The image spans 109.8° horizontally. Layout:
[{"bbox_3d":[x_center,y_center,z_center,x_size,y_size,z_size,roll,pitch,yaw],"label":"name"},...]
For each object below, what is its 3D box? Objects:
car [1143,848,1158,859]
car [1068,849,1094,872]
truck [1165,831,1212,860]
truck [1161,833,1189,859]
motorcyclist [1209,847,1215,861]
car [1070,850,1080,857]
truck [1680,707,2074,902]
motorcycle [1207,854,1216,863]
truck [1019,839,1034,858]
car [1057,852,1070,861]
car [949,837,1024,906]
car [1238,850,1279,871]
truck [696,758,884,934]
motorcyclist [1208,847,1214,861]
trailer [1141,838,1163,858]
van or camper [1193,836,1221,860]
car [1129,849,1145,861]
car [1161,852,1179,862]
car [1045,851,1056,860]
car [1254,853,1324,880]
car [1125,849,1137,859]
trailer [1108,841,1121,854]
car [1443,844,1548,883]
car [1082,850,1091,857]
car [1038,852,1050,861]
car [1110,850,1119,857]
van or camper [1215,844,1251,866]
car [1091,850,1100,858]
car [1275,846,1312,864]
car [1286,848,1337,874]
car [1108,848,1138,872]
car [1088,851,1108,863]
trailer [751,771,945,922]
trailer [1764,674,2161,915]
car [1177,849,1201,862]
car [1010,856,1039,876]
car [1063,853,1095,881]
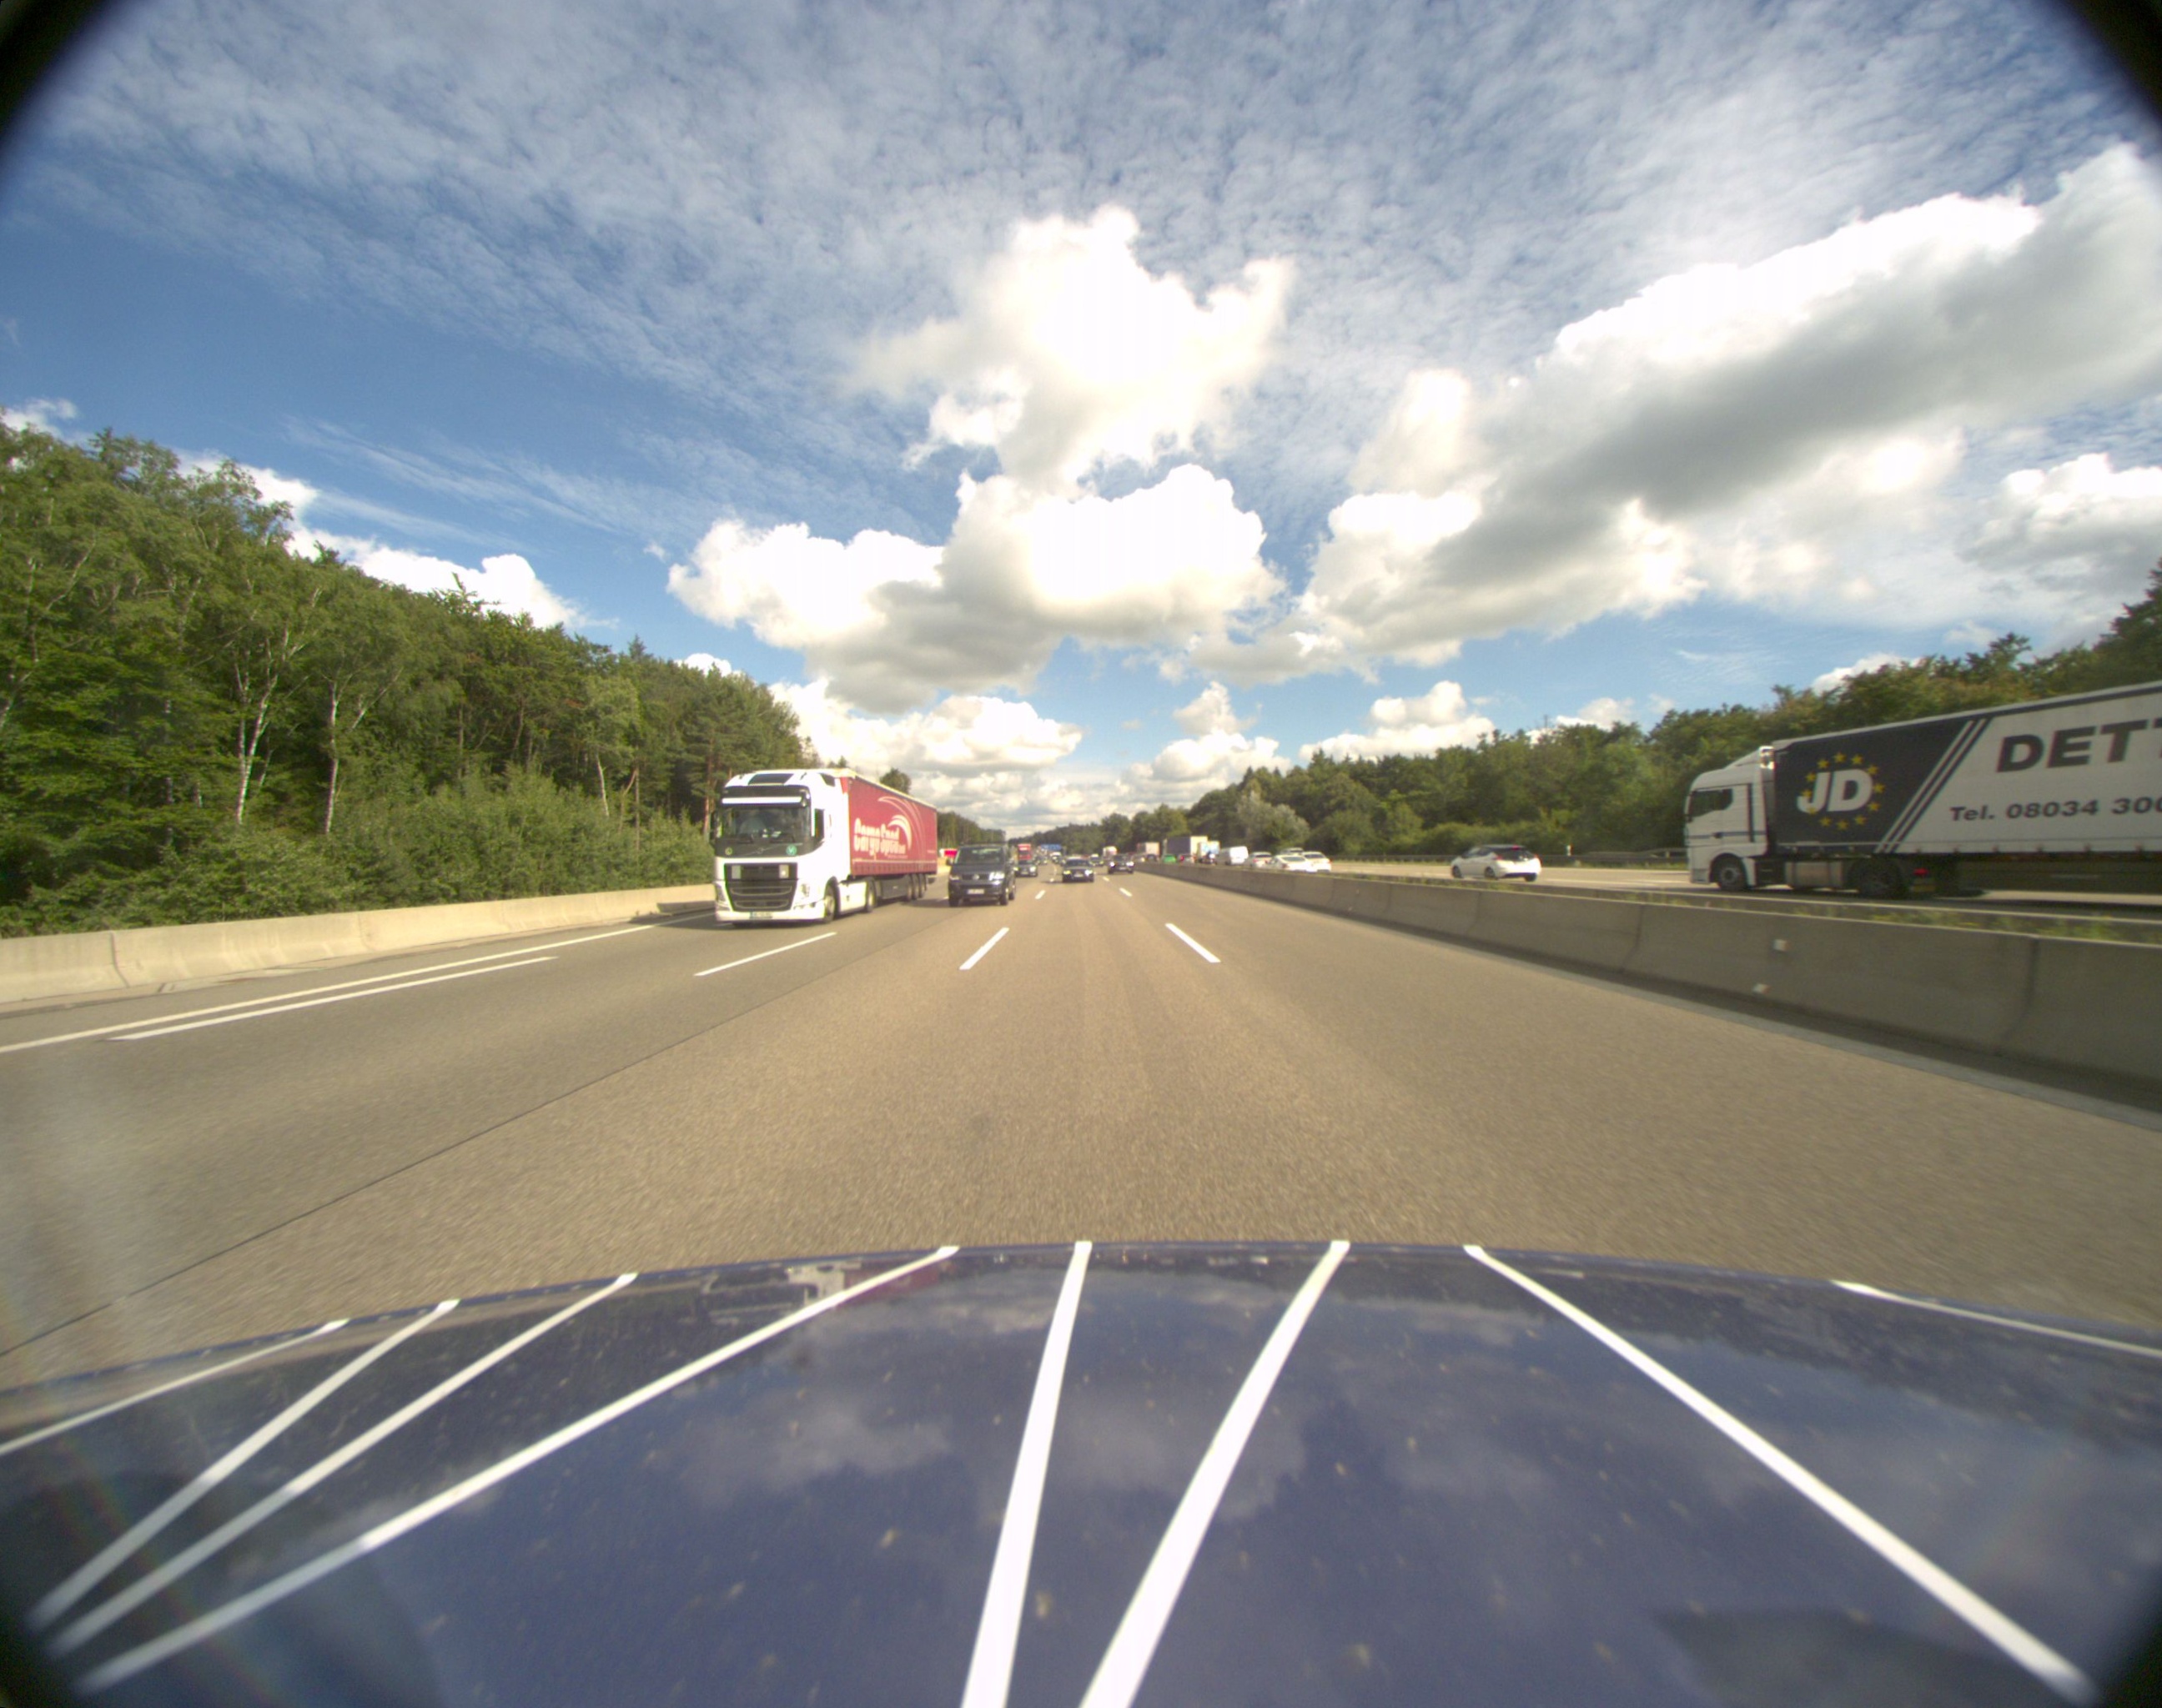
[{"bbox_3d":[11.232,-0.060,123.051,1.849,1.586,4.912,-2,0,-3],"label":"car"},{"bbox_3d":[0.060,0.543,67.198,2.153,1.800,5.099,-2,1,1],"label":"car"},{"bbox_3d":[16.542,-1.236,118.397,2.829,4.070,13.831,-2,0,-10],"label":"truck"},{"bbox_3d":[15.364,-1.277,124.956,2.829,4.070,6.055,-2,0,-11],"label":"truck"},{"bbox_3d":[14.500,-0.012,84.009,0.604,1.467,0.532,-2,1,0],"label":"motorcyclist"},{"bbox_3d":[-1.517,-0.081,181.413,2.153,1.540,4.675,-1,0,-4],"label":"car"},{"bbox_3d":[19.545,-1.074,19.392,3.327,4.083,6.222,-2,0,-4],"label":"truck"},{"bbox_3d":[14.507,0.488,84.605,0.611,1.034,2.174,-2,0,0],"label":"motorcycle"},{"bbox_3d":[-11.072,-1.159,154.554,3.019,3.662,7.558,-1,0,-4],"label":"truck"},{"bbox_3d":[-3.478,0.489,150.245,2.153,1.540,4.675,-1,0,-4],"label":"car"},{"bbox_3d":[-3.137,0.555,26.188,1.853,2.097,4.932,-2,0,1],"label":"car"},{"bbox_3d":[13.077,0.459,56.307,1.774,1.386,4.689,-2,0,-2],"label":"car"},{"bbox_3d":[-7.511,-0.189,20.547,2.781,4.021,5.772,-2,0,0],"label":"truck"},{"bbox_3d":[14.481,-0.018,84.607,0.604,1.467,0.532,-2,1,0],"label":"motorcyclist"},{"bbox_3d":[13.969,-1.163,150.776,2.975,3.835,11.278,-2,0,-2],"label":"trailer"},{"bbox_3d":[16.156,-0.717,97.717,2.380,2.875,6.505,-2,0,0],"label":"van or camper"},{"bbox_3d":[7.921,0.131,108.129,1.867,1.543,4.661,-2,0,1],"label":"car"},{"bbox_3d":[12.199,0.409,104.503,1.788,1.462,4.330,0,0,-1],"label":"car"},{"bbox_3d":[-6.603,0.322,163.303,2.153,1.903,4.675,-2,0,-4],"label":"car"},{"bbox_3d":[9.971,0.553,36.778,1.816,1.154,4.513,-2,0,-4],"label":"car"},{"bbox_3d":[9.737,-0.050,148.549,1.852,1.929,5.032,0,0,-2],"label":"car"},{"bbox_3d":[9.846,-1.902,225.899,2.795,3.922,12.249,-2,0,-3],"label":"trailer"},{"bbox_3d":[17.112,0.343,31.681,1.815,1.444,4.801,-2,0,1],"label":"car"},{"bbox_3d":[1.580,-0.170,215.209,2.161,1.690,5.348,-2,0,-4],"label":"car"},{"bbox_3d":[-6.840,0.457,141.774,2.153,1.540,4.675,-1,0,-3],"label":"car"},{"bbox_3d":[8.279,-0.117,188.373,1.854,1.867,4.614,-2,0,-4],"label":"car"},{"bbox_3d":[14.328,0.096,71.904,1.999,1.926,5.455,-2,0,-4],"label":"van or camper"},{"bbox_3d":[3.554,0.007,190.935,1.854,1.867,4.614,-2,0,-4],"label":"car"},{"bbox_3d":[20.749,0.073,74.349,2.177,1.674,4.785,-2,0,0],"label":"car"},{"bbox_3d":[13.680,0.382,45.388,1.685,1.389,4.715,-2,0,2],"label":"car"},{"bbox_3d":[3.374,0.433,61.593,2.153,1.800,5.098,-2,1,1],"label":"car"},{"bbox_3d":[2.191,0.359,100.922,2.153,1.540,4.675,-2,0,-4],"label":"car"},{"bbox_3d":[-7.542,-0.209,27.491,2.781,4.021,13.712,-2,0,0],"label":"trailer"},{"bbox_3d":[19.939,-1.053,12.859,3.327,4.082,14.149,-2,0,-3],"label":"trailer"},{"bbox_3d":[12.858,0.194,90.826,2.177,1.462,4.785,-2,0,0],"label":"car"},{"bbox_3d":[-4.450,0.900,59.996,2.153,1.426,5.097,-2,0,-4],"label":"car"},{"bbox_3d":[-0.088,0.733,44.924,1.733,1.500,4.728,-2,0,1],"label":"car"}]
